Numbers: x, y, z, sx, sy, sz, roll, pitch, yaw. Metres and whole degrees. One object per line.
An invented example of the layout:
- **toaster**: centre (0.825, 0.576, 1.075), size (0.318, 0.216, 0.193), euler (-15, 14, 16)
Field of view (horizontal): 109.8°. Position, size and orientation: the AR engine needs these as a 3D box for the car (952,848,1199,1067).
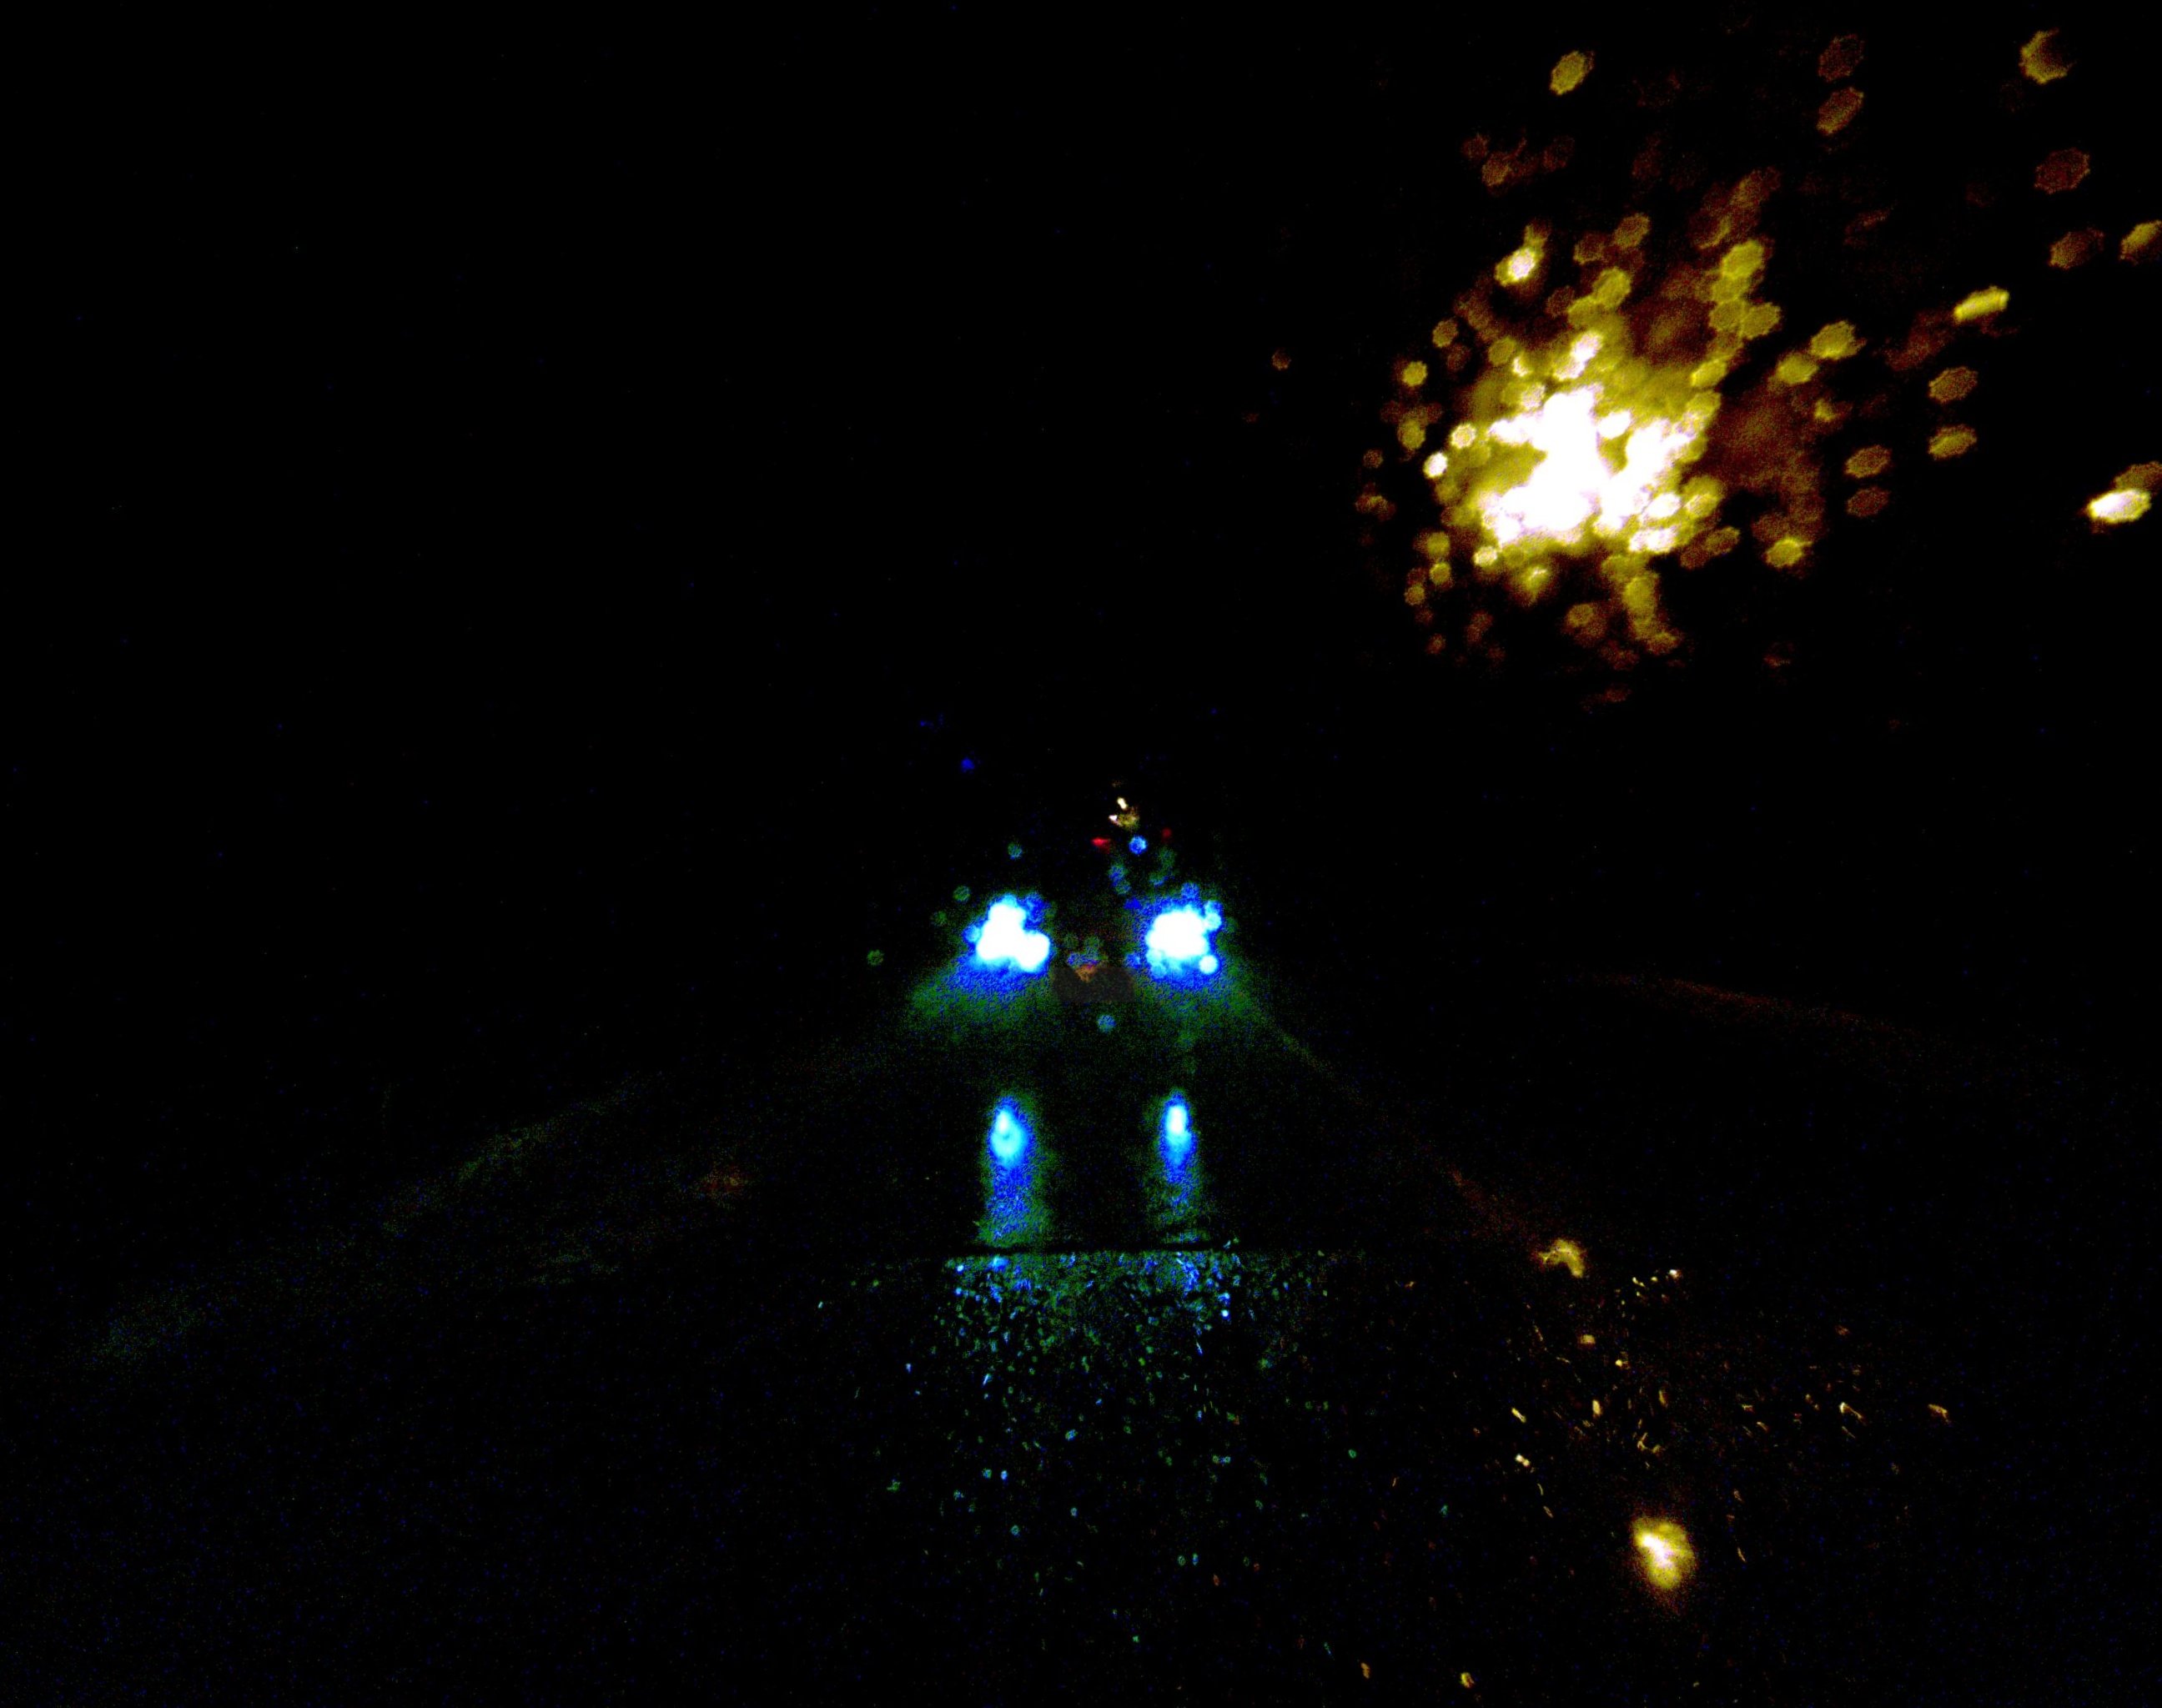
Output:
- **car**: centre (0.082, 0.800, 8.112), size (1.893, 1.678, 4.340), euler (-1, 1, 3)
